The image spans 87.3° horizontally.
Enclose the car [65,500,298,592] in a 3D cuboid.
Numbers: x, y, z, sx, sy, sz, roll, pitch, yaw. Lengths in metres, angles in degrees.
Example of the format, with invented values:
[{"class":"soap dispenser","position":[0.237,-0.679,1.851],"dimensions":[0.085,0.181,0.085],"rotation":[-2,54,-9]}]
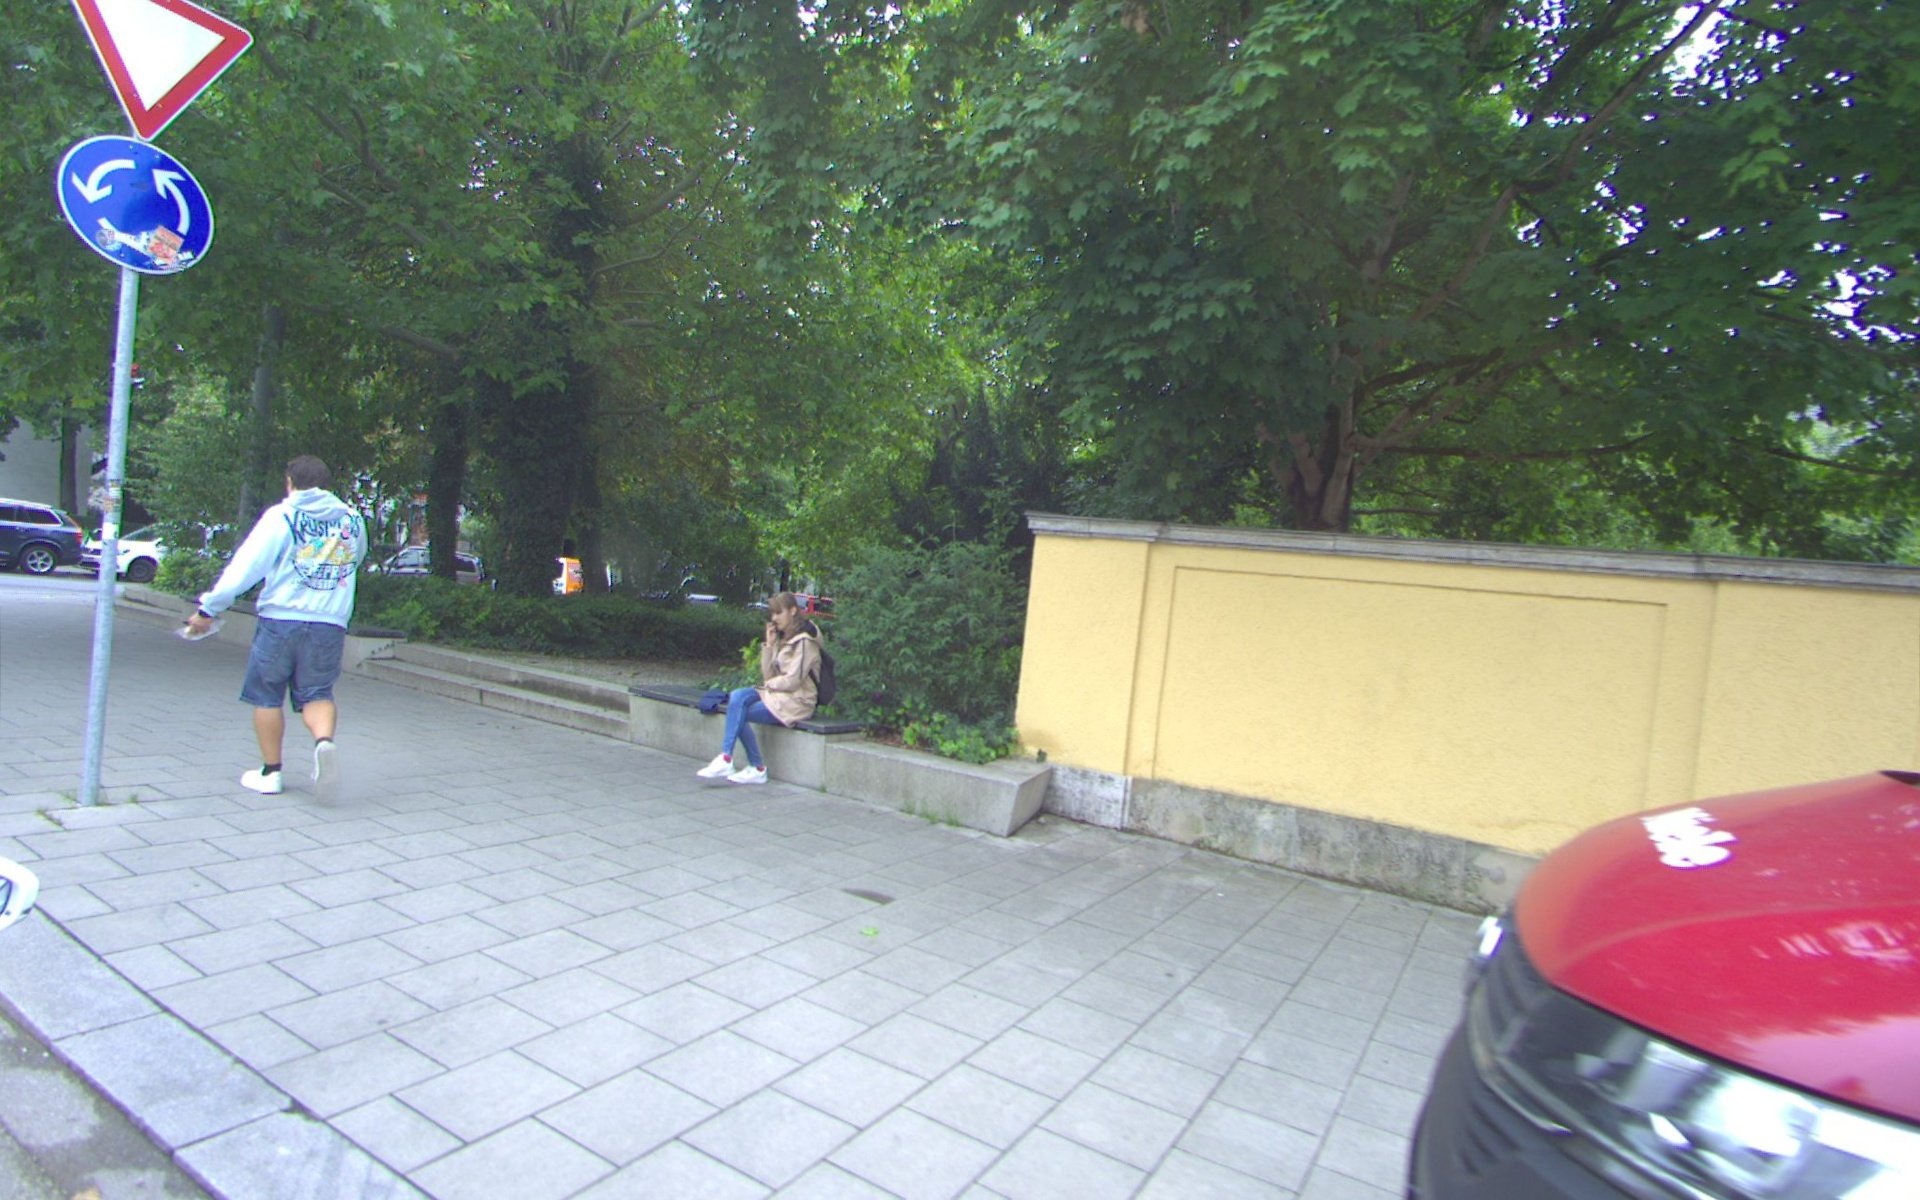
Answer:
[{"class":"car","position":[-21.721,-1.428,28.354],"dimensions":[1.802,1.941,4.849],"rotation":[5,-2,22]}]

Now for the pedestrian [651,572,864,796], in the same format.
[{"class":"pedestrian","position":[-1.387,0.563,6.977],"dimensions":[0.863,1.355,1.010],"rotation":[6,0,34]}]

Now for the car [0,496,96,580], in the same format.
[{"class":"car","position":[-23.654,-1.646,23.435],"dimensions":[1.964,1.813,4.912],"rotation":[5,-2,23]}]

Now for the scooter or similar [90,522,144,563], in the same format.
[{"class":"scooter or similar","position":[-28.007,-1.903,33.436],"dimensions":[0.393,1.208,1.215],"rotation":[6,-1,26]}]

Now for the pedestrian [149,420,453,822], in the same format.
[{"class":"pedestrian","position":[-3.357,0.091,5.128],"dimensions":[1.036,1.793,0.873],"rotation":[6,0,38]}]

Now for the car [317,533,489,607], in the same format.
[{"class":"car","position":[-19.097,-0.962,34.823],"dimensions":[1.858,1.956,5.210],"rotation":[5,-2,19]}]

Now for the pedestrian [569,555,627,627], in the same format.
[{"class":"pedestrian","position":[-10.019,-0.250,27.879],"dimensions":[0.860,1.854,1.052],"rotation":[6,0,22]}]

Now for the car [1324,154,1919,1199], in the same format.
[{"class":"car","position":[2.964,0.810,0.763],"dimensions":[4.805,1.943,1.878],"rotation":[6,-2,31]}]

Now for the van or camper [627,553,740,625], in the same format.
[{"class":"van or camper","position":[-13.530,-0.464,49.745],"dimensions":[1.970,2.980,6.012],"rotation":[5,-1,21]}]

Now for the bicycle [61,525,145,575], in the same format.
[{"class":"bicycle","position":[-24.092,-1.392,28.299],"dimensions":[1.796,1.163,0.537],"rotation":[7,0,0]}]

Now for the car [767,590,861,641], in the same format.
[{"class":"car","position":[-6.318,0.725,44.090],"dimensions":[1.960,1.861,4.715],"rotation":[5,-1,20]}]

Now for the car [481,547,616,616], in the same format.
[{"class":"car","position":[-16.800,-0.689,41.418],"dimensions":[1.917,2.299,5.244],"rotation":[5,-1,21]}]
